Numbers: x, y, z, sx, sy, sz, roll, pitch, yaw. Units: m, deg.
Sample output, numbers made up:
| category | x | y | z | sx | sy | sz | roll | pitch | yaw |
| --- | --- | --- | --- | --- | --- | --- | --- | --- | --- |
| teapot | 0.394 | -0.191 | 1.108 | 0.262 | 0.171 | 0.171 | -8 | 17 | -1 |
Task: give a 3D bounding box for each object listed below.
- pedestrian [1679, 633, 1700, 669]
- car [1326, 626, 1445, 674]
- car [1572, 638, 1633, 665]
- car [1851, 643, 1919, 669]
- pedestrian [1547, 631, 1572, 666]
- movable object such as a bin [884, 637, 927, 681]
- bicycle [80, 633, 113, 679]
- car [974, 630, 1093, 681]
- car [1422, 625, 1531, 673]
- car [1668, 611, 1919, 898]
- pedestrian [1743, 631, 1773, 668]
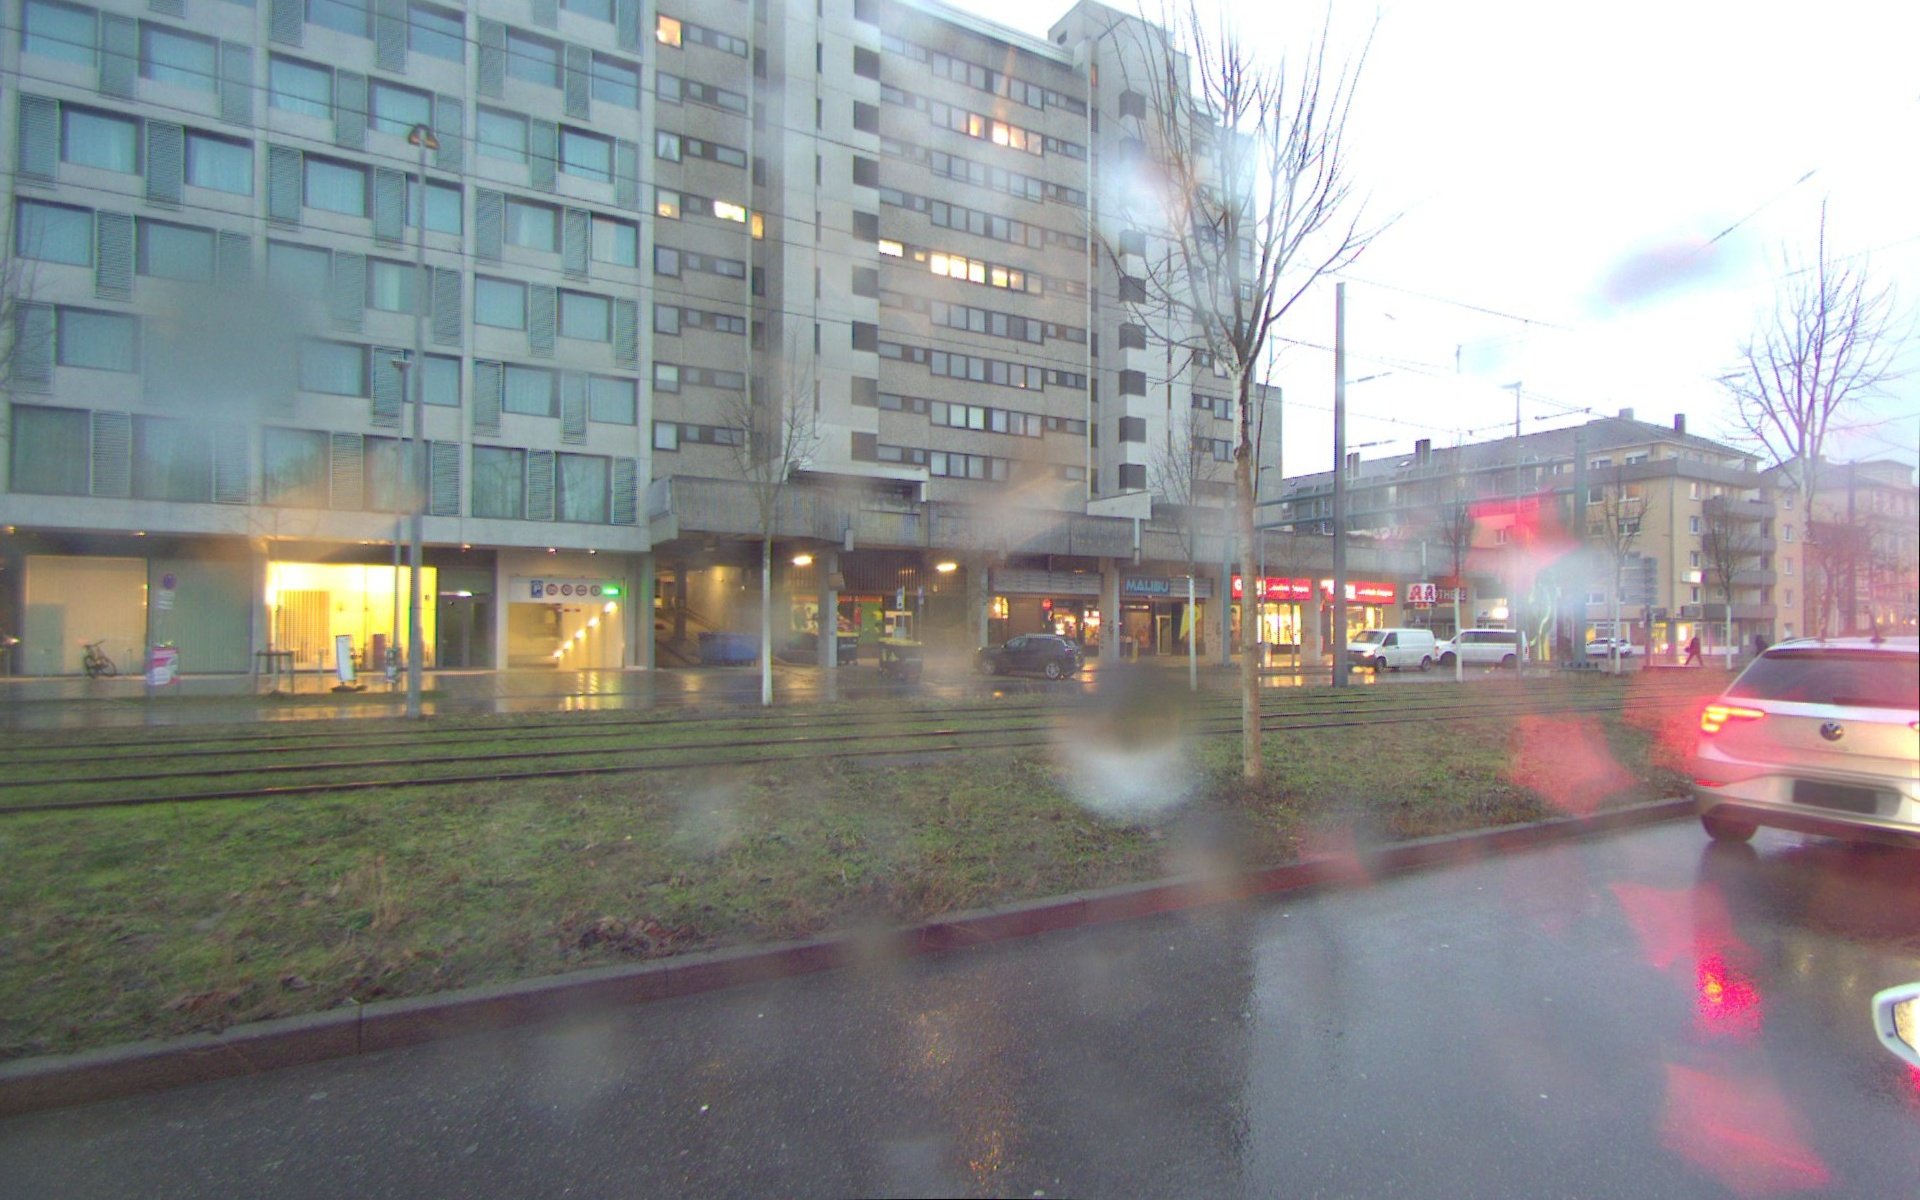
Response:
| category | x | y | z | sx | sy | sz | roll | pitch | yaw |
| --- | --- | --- | --- | --- | --- | --- | --- | --- | --- |
| pedestrian | 41.338 | 2.891 | 56.936 | 0.946 | 2.040 | 1.004 | -1 | -2 | 36 |
| car | 20.033 | 2.358 | 47.219 | 5.491 | 2.073 | 1.987 | 2 | 0 | -26 |
| car | 51.199 | 4.089 | 80.058 | 1.826 | 1.968 | 3.720 | 2 | 0 | -37 |
| car | 54.401 | 3.273 | 59.026 | 4.265 | 1.350 | 1.850 | 2 | 0 | -31 |
| pedestrian | 34.668 | 2.788 | 58.054 | 1.050 | 2.040 | 1.008 | 0 | -2 | 20 |
| movable object such as a bin | -1.906 | 2.030 | 35.015 | 1.023 | 1.445 | 1.061 | 2 | 0 | -41 |
| bicycle | -25.185 | 1.620 | 29.325 | 0.460 | 1.255 | 1.527 | 2 | 0 | -31 |
| car | 2.809 | 2.072 | 38.338 | 4.066 | 1.715 | 1.982 | 2 | 0 | 28 |
| car | 27.126 | 2.525 | 52.916 | 4.734 | 2.274 | 2.001 | 2 | 0 | 15 |
| car | 6.738 | 0.883 | 6.845 | 3.954 | 1.554 | 1.684 | 1 | -1 | -31 |
| pedestrian | 44.366 | 2.756 | 55.859 | 1.253 | 2.040 | 1.004 | -1 | -2 | 36 |
